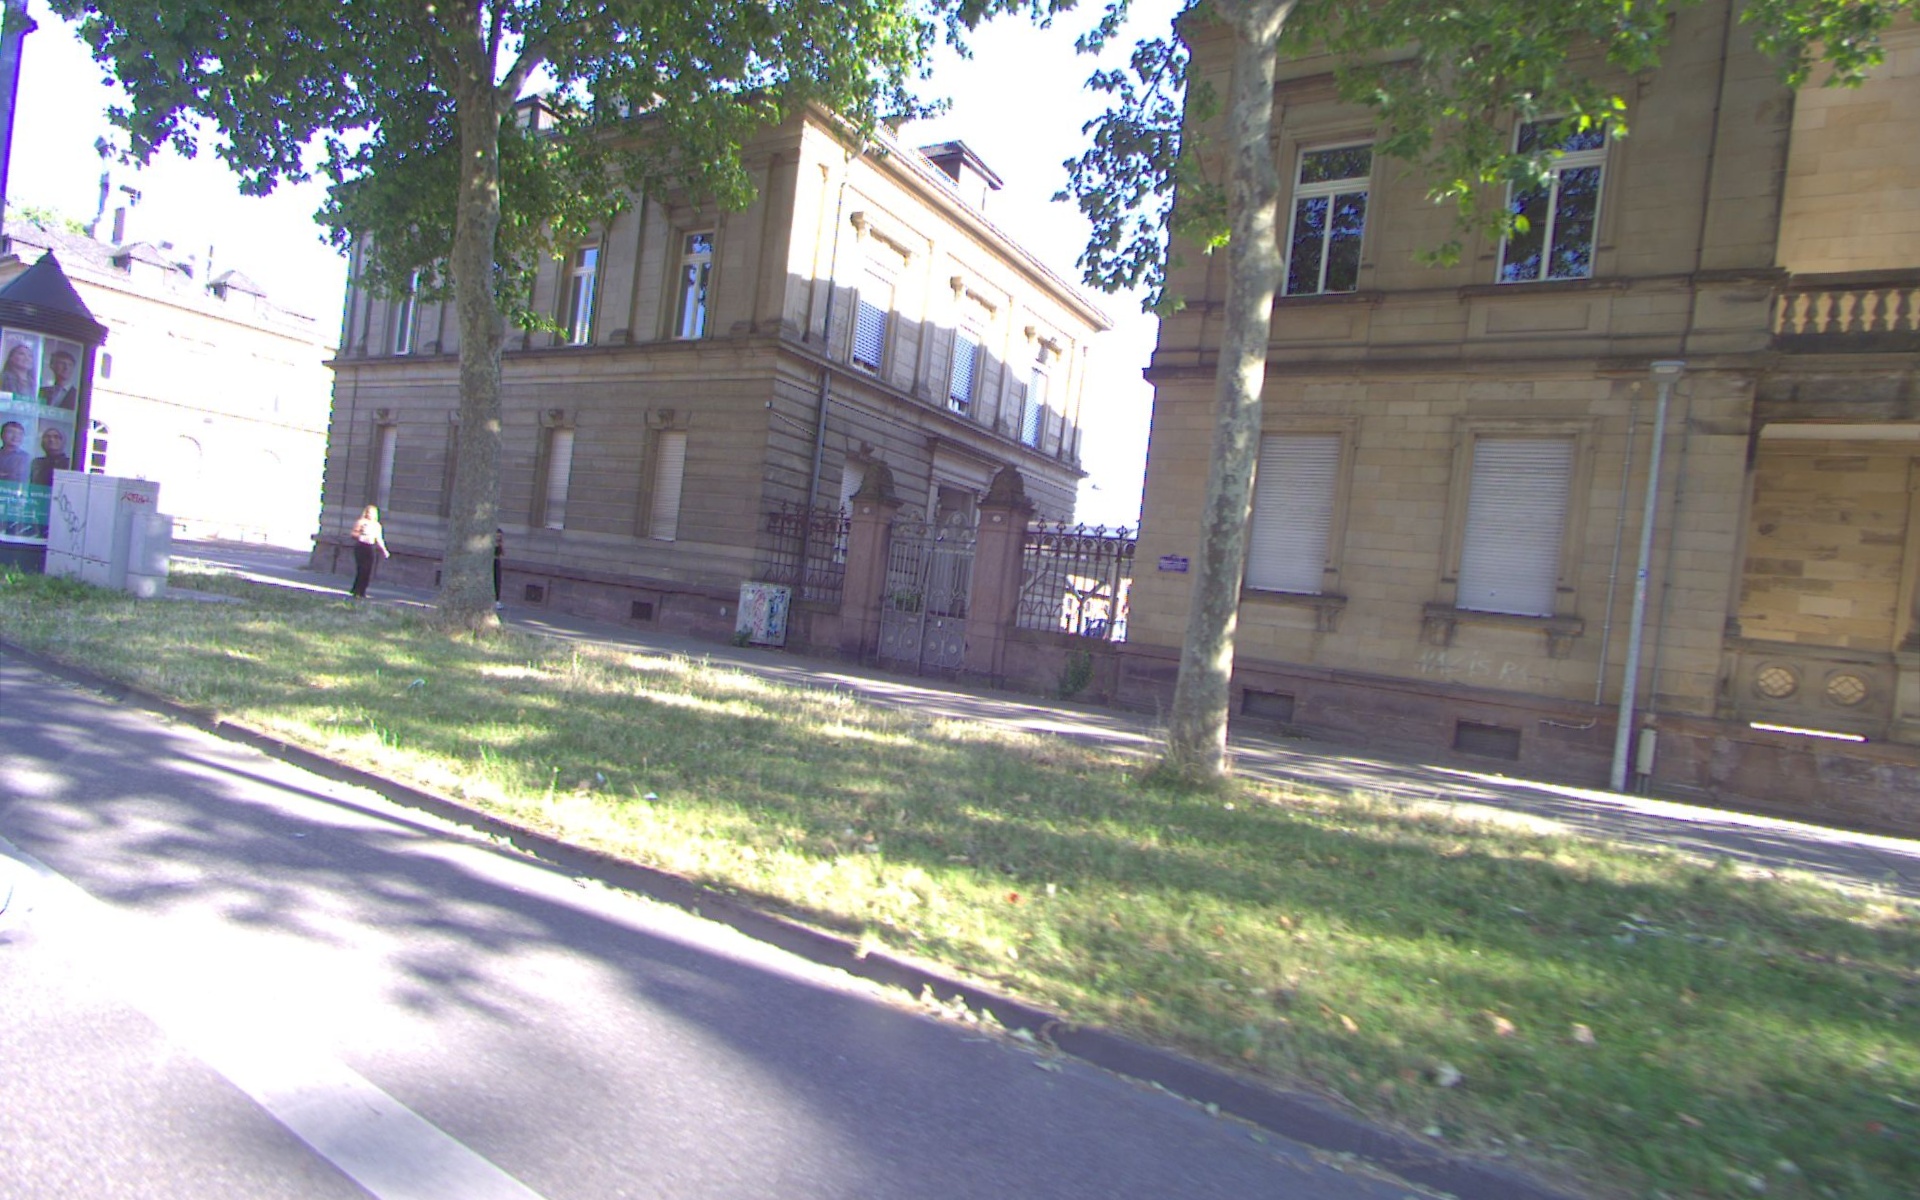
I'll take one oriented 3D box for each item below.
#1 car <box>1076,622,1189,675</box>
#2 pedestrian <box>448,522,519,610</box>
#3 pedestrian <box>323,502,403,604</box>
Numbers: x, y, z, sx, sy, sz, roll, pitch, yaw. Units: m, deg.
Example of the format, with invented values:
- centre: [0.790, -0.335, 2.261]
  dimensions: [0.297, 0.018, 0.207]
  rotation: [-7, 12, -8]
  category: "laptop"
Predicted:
- centre: [6.559, 1.842, 38.146]
  dimensions: [3.959, 1.504, 1.801]
  rotation: [7, 0, -32]
  category: "car"
- centre: [-9.583, -0.680, 20.221]
  dimensions: [0.970, 1.626, 0.770]
  rotation: [7, 1, 33]
  category: "pedestrian"
- centre: [-10.956, -0.865, 18.461]
  dimensions: [1.025, 1.731, 0.770]
  rotation: [7, 1, 33]
  category: "pedestrian"
